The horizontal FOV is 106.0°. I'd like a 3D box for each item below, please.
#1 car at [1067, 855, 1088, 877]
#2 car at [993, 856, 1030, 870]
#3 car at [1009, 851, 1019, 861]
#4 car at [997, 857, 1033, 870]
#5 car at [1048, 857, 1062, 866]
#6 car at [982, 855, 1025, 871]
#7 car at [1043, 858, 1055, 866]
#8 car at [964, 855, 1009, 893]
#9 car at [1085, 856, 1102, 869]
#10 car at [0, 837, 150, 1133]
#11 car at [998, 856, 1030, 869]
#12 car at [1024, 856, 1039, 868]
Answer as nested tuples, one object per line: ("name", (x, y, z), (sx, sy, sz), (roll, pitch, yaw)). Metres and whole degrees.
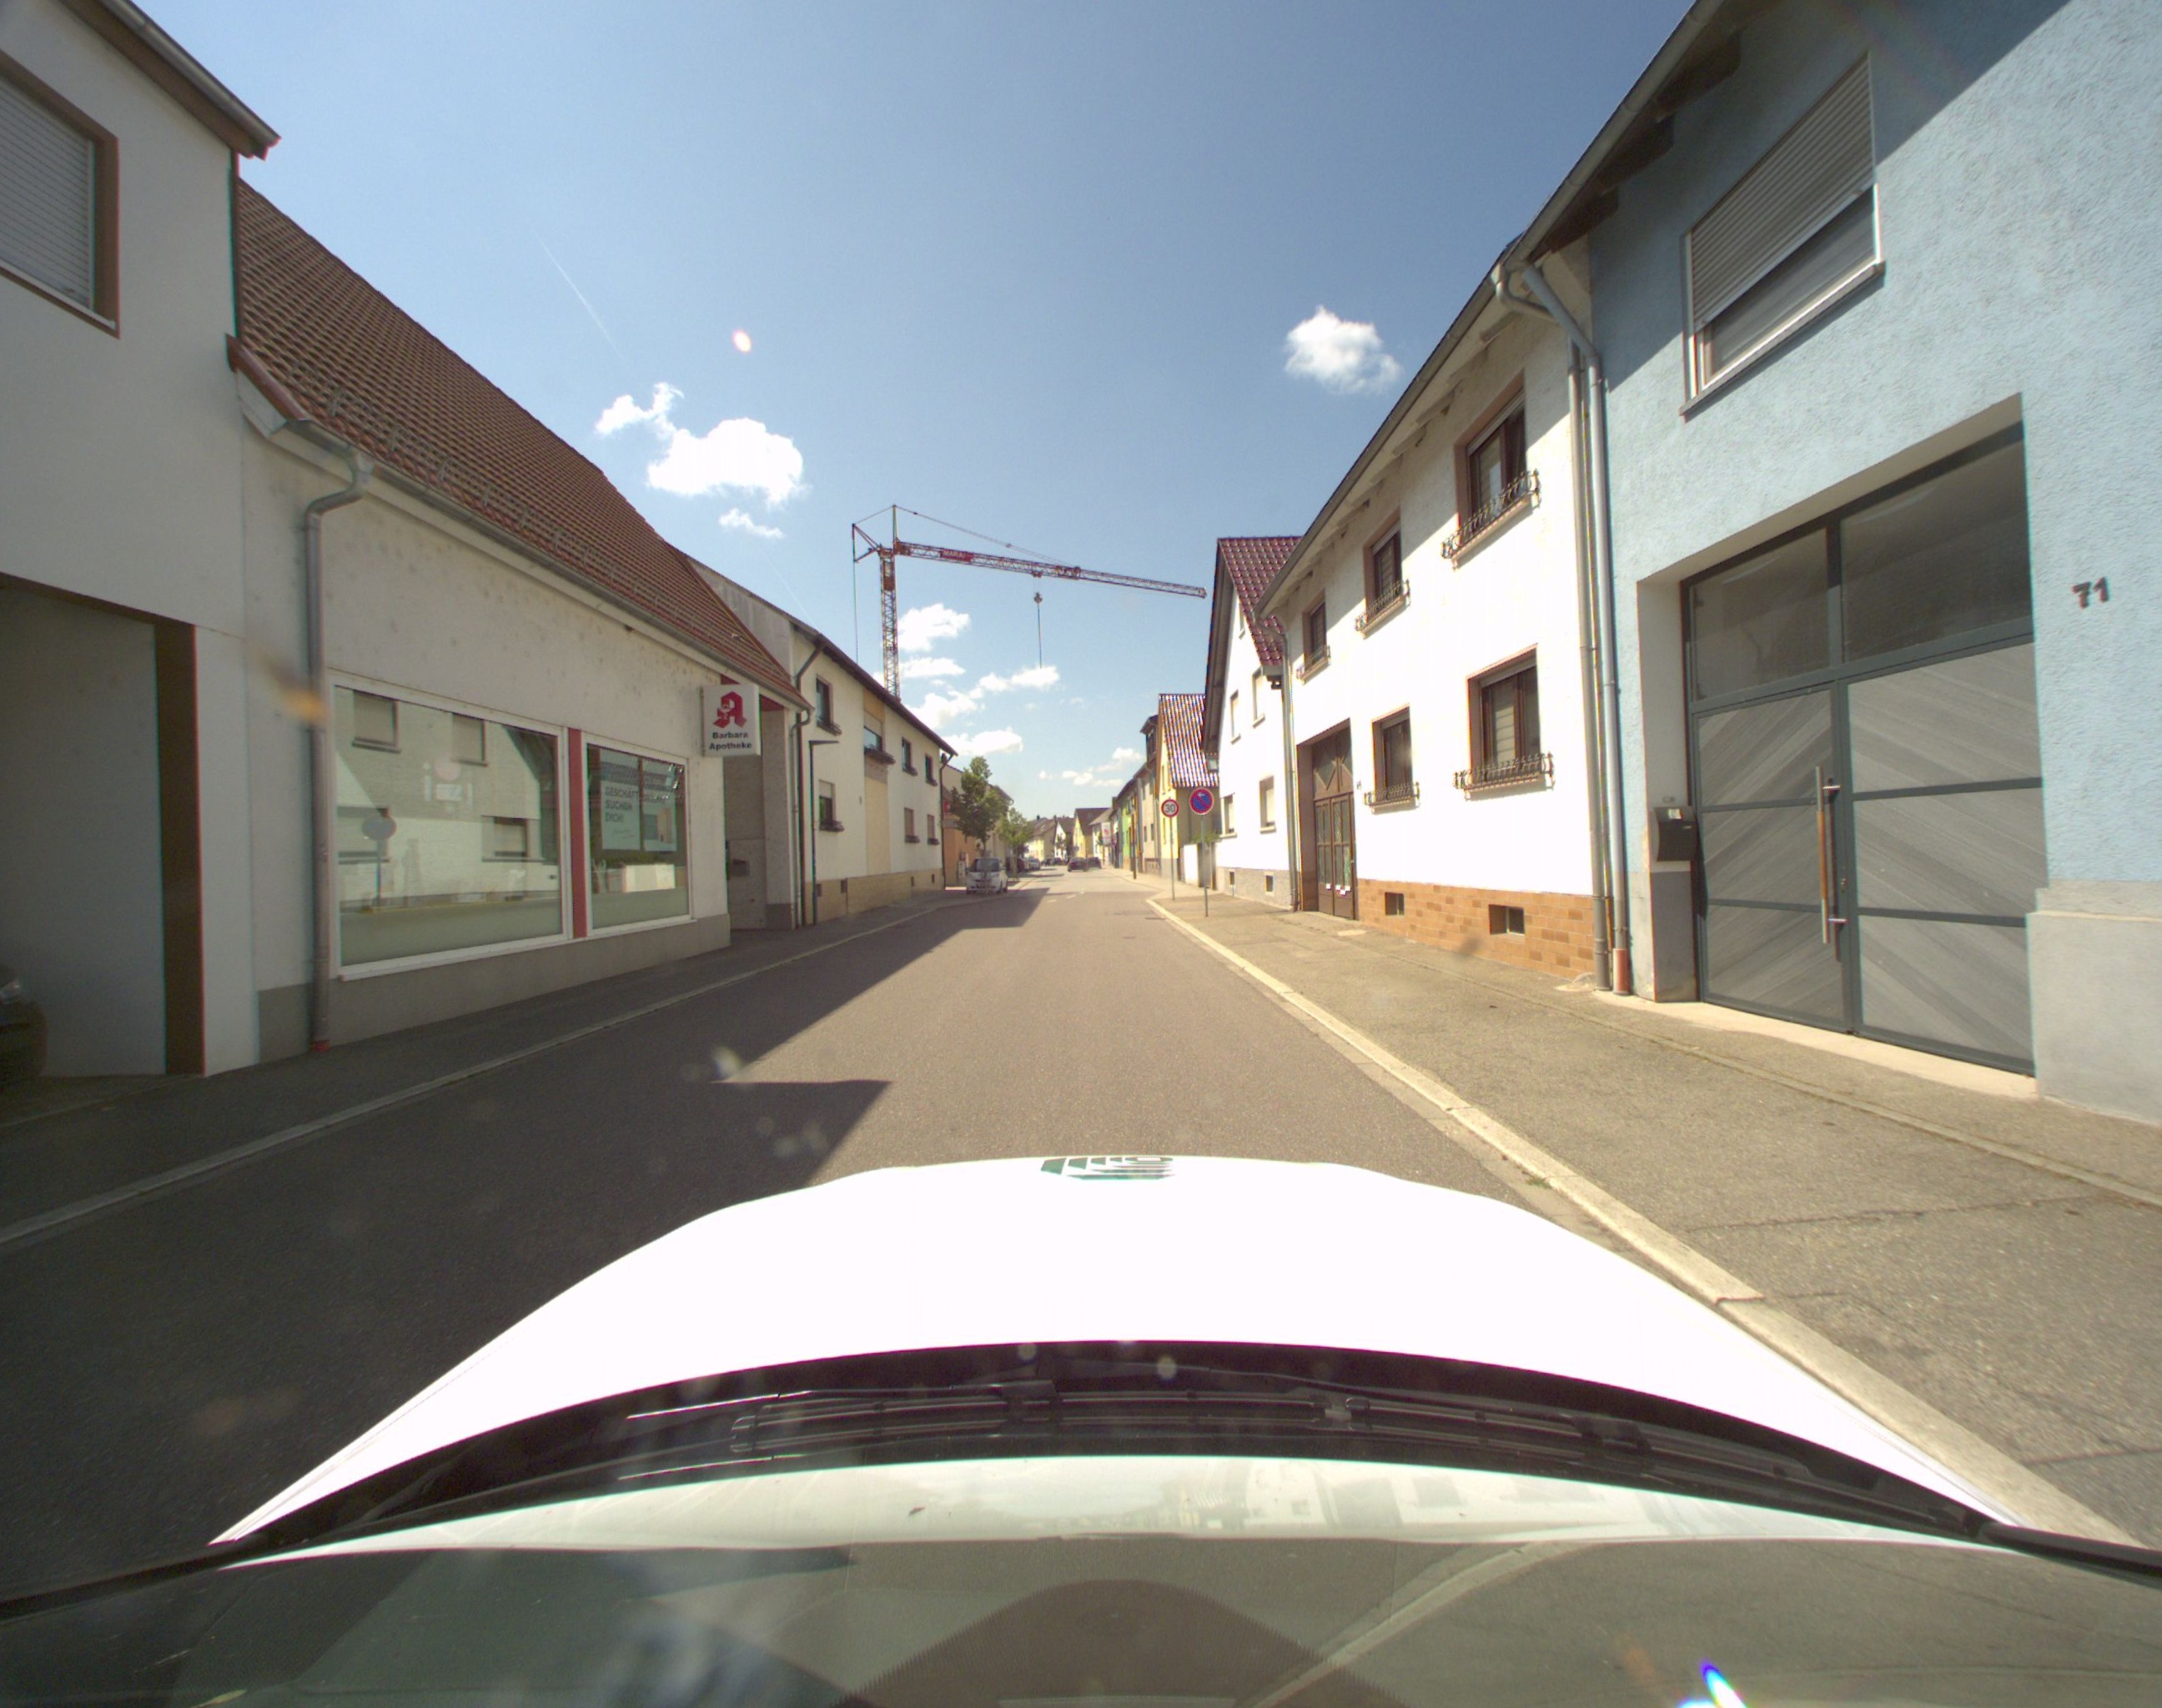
("car", (-0.364, 1.135, 81.654), (1.988, 2.058, 4.371), (-2, 0, -1))
("car", (-7.736, 0.976, 91.168), (3.888, 1.502, 1.751), (1, 0, 0))
("car", (-14.709, 0.498, 178.997), (1.992, 2.013, 3.990), (-2, 0, -7))
("car", (-7.616, 1.084, 93.652), (3.975, 1.442, 1.690), (1, 0, -1))
("car", (-4.891, 1.410, 151.981), (1.848, 1.562, 3.677), (-2, 0, -13))
("car", (-7.891, 0.894, 83.112), (4.207, 1.658, 1.783), (0, 0, -2))
("car", (-6.285, 1.596, 159.487), (1.712, 1.387, 3.689), (-2, 0, -13))
("car", (-4.020, 0.830, 34.958), (1.567, 1.561, 2.822), (0, 0, 1))
("car", (1.445, 0.982, 95.725), (1.851, 1.459, 4.586), (-4, 0, 1))
("car", (-8.254, 0.745, 4.565), (3.972, 1.718, 1.814), (0, 0, 1))
("car", (-7.929, 1.045, 96.449), (3.680, 1.525, 1.672), (0, 0, -1))
("car", (-6.375, 1.019, 104.574), (1.752, 1.411, 3.876), (0, 0, -1))
